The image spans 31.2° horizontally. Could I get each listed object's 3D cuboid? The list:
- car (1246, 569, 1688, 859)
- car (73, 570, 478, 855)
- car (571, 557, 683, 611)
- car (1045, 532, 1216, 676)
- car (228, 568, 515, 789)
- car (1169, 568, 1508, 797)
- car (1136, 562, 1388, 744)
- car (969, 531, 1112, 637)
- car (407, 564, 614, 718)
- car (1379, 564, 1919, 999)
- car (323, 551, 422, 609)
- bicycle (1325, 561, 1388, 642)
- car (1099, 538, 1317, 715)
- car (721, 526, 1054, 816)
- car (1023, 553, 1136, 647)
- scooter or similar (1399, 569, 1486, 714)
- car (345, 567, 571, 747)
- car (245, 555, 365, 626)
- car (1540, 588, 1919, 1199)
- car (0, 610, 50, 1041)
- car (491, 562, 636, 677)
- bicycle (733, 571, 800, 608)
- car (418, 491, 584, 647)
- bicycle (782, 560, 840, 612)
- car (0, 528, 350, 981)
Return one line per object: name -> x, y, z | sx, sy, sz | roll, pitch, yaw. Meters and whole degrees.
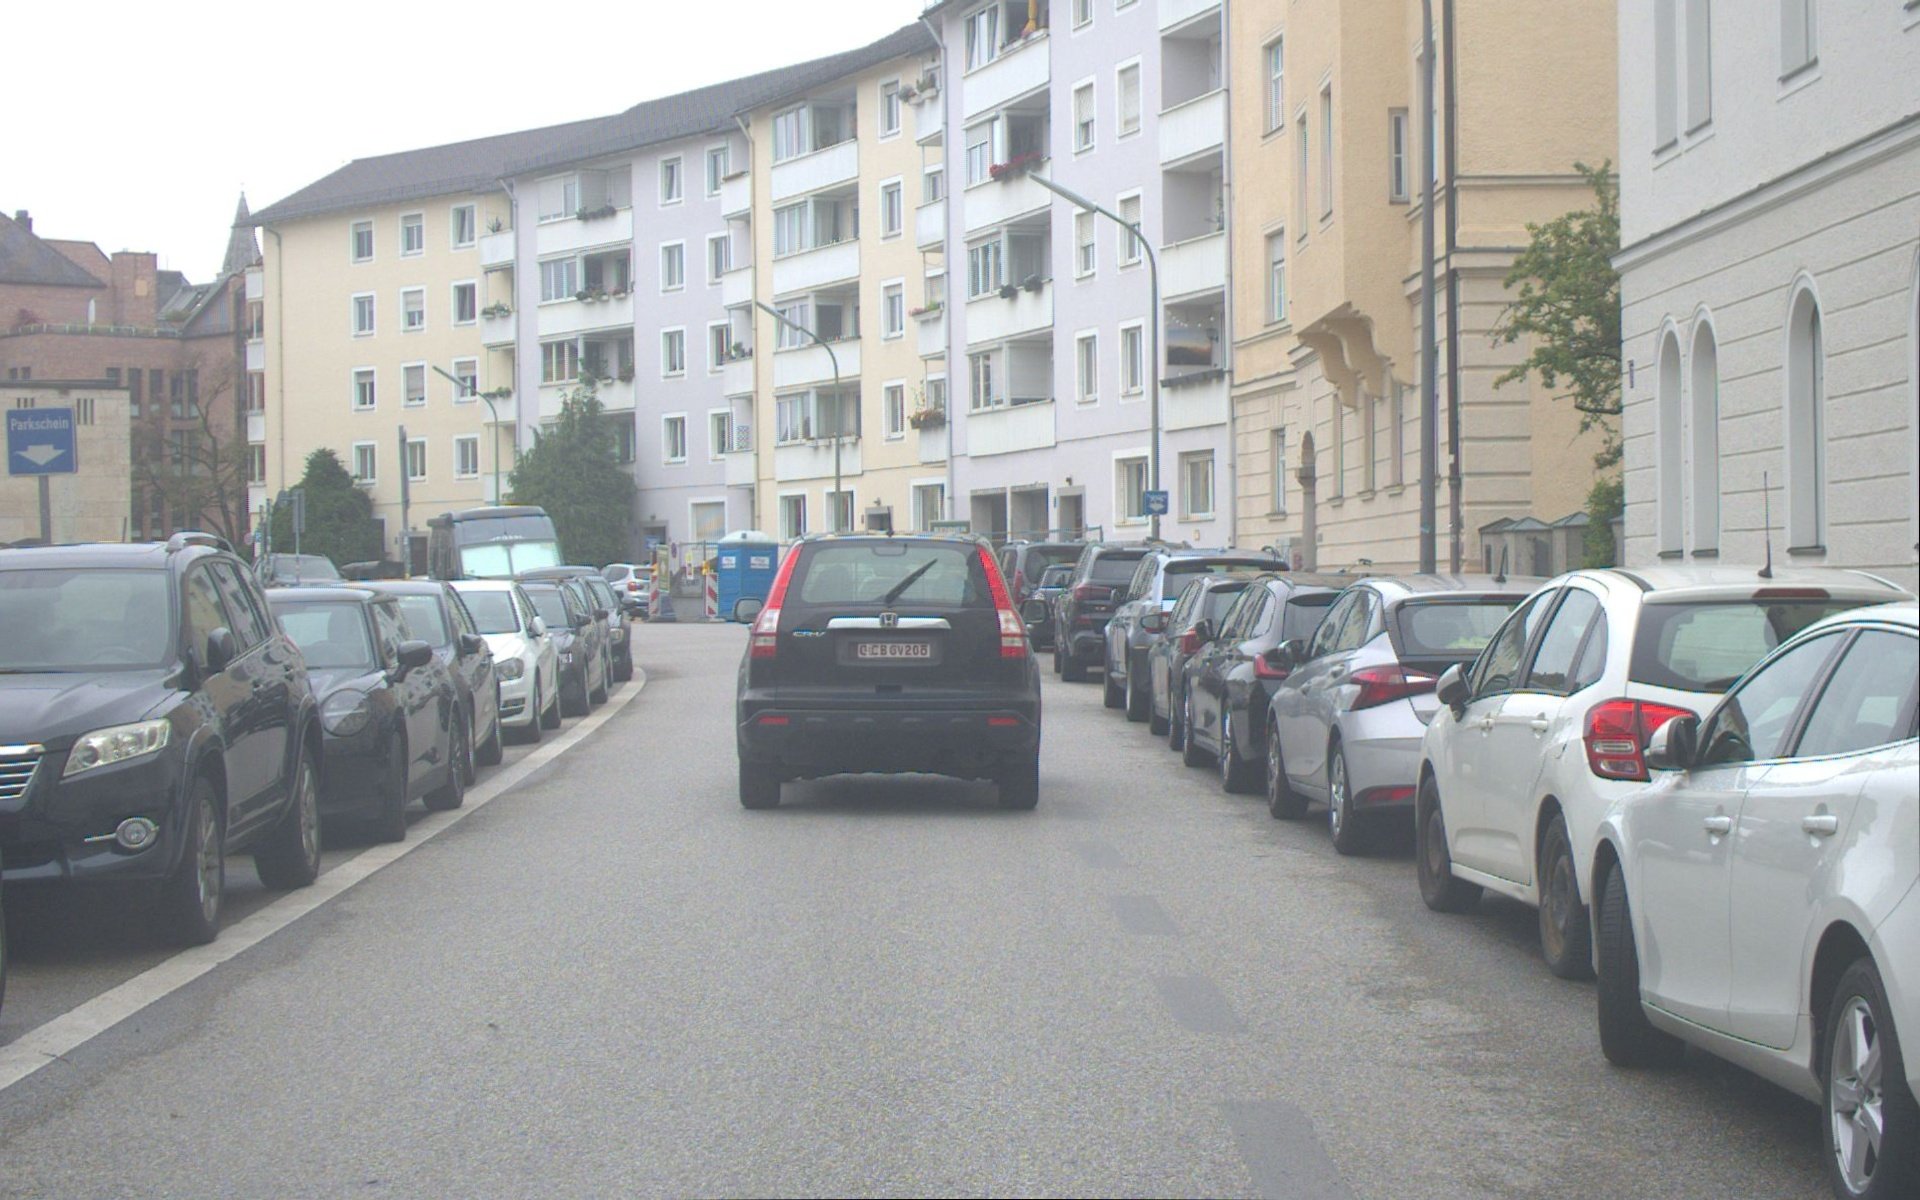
car -> 2.688, 0.545, 19.125 | 1.679, 1.422, 4.167 | 0, 1, -2
car -> -3.954, 0.589, 20.441 | 1.680, 1.448, 3.870 | -2, 1, -2
car -> -9.476, -0.473, 97.667 | 1.724, 1.478, 4.000 | 0, 1, -29
car -> 2.121, 0.026, 43.995 | 1.869, 1.711, 4.866 | 1, 0, -1
car -> -4.315, 0.520, 25.691 | 1.656, 1.448, 3.975 | -2, 1, -4
car -> 2.503, 0.495, 23.704 | 1.679, 1.422, 4.391 | 0, 1, -2
car -> 2.478, 0.398, 29.046 | 1.679, 1.422, 4.087 | 0, 1, -1
car -> 1.388, -0.297, 61.236 | 1.777, 1.800, 4.277 | 1, 0, -9
car -> -4.691, 0.388, 36.397 | 1.755, 1.448, 4.396 | -2, 1, -3
car -> 2.860, 0.598, 13.825 | 1.679, 1.476, 4.167 | 0, 1, -2
car -> -19.543, -0.683, 114.345 | 1.724, 1.871, 4.000 | 0, 1, -34
bicycle -> 5.628, 0.007, 48.877 | 0.579, 1.079, 1.953 | -3, 1, -1
car -> 2.382, 0.222, 34.002 | 1.722, 1.628, 4.458 | 0, 1, -1
car -> -0.550, 0.383, 21.629 | 1.890, 1.642, 3.992 | 0, 0, -4
car -> 1.916, -0.016, 55.992 | 1.708, 1.442, 3.830 | 1, 0, 0
scooter or similar -> 3.952, 0.334, 28.232 | 0.484, 1.160, 1.172 | 0, 0, -3
car -> -4.490, 0.466, 31.231 | 1.656, 1.448, 4.074 | -2, 1, -4
car -> -16.117, -0.245, 84.433 | 1.679, 1.701, 4.514 | -1, 1, -27
car -> 2.776, 0.685, 8.910 | 1.679, 1.405, 4.443 | 0, 1, -2
car -> -3.959, 0.748, 9.781 | 1.743, 1.382, 3.918 | 0, 1, -1
car -> -5.288, 0.229, 46.281 | 1.799, 1.401, 4.456 | -2, 1, -5
bicycle -> -5.671, -0.306, 100.602 | 1.865, 1.087, 0.566 | 0, 0, -22
car -> -8.387, -0.573, 62.337 | 2.163, 2.632, 6.019 | -2, 1, -15
bicycle -> -4.030, -0.383, 92.914 | 0.968, 1.384, 2.564 | 0, 1, -16
car -> -3.938, 0.588, 15.076 | 1.743, 1.660, 4.449 | -4, 1, -1
